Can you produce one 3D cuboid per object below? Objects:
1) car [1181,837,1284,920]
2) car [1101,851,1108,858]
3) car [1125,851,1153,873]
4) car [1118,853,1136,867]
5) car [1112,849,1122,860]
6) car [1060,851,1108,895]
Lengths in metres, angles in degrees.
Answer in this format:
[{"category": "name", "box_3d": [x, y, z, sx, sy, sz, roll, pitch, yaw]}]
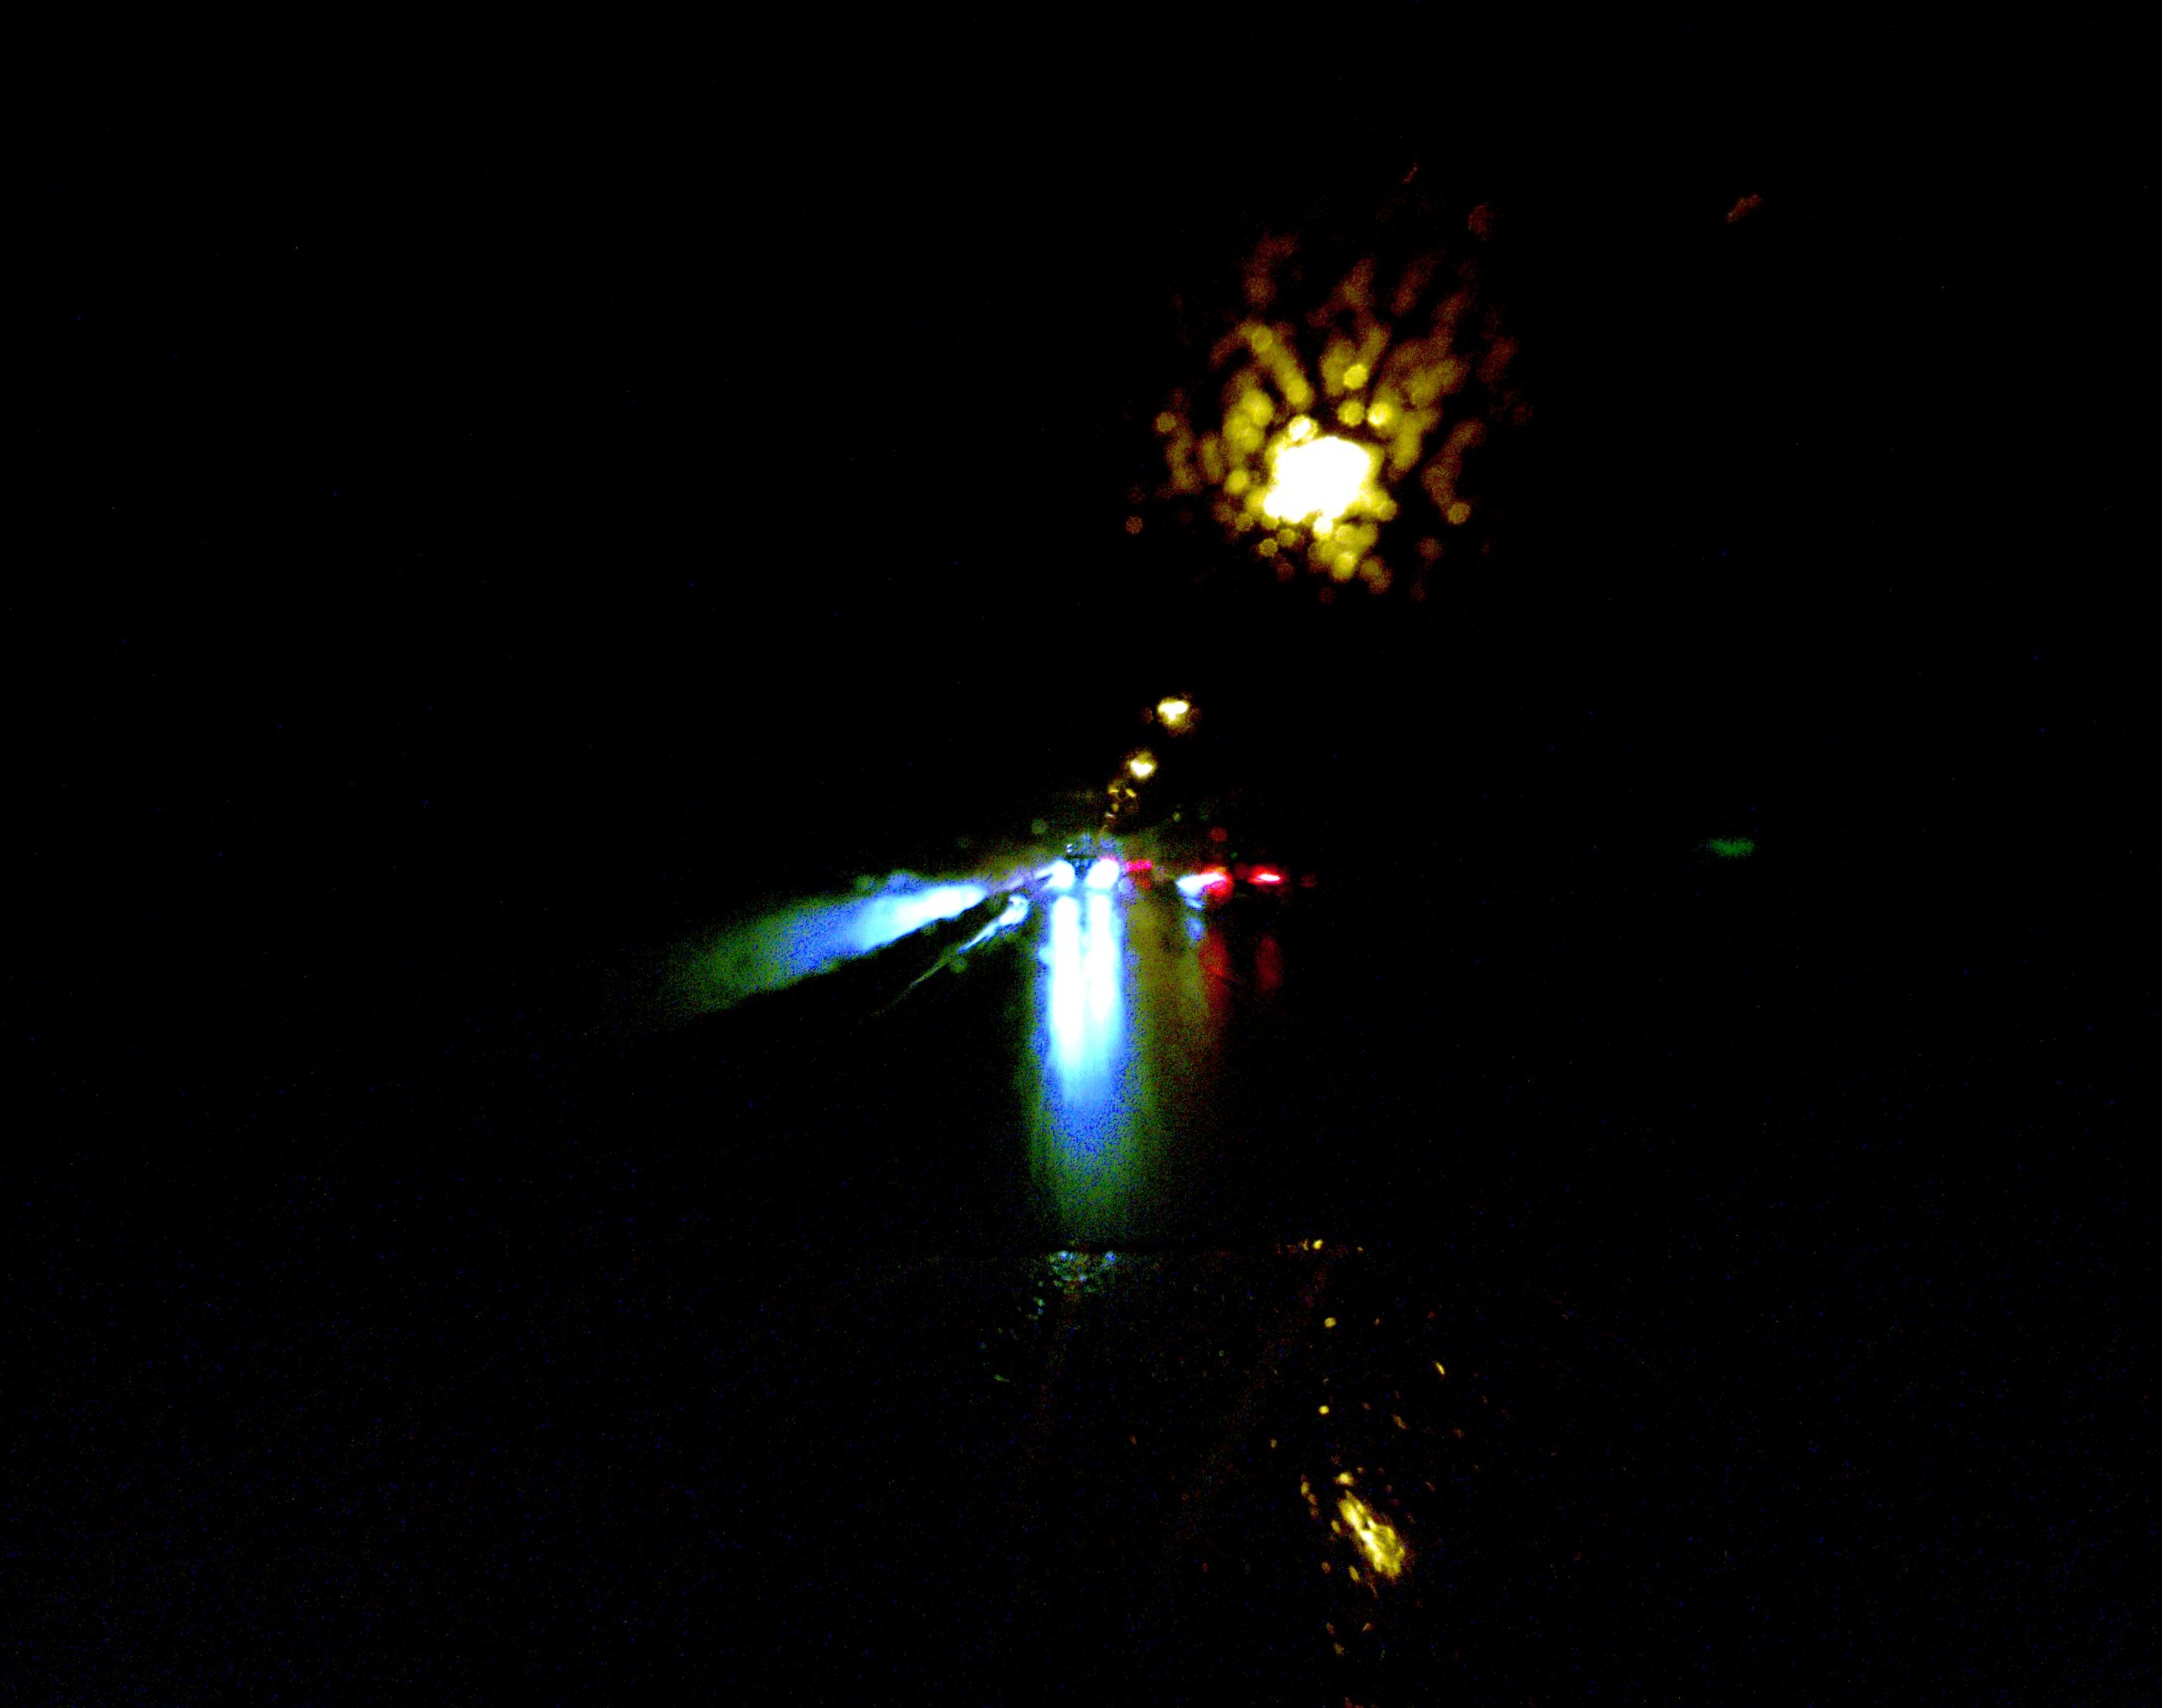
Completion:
[{"category": "car", "box_3d": [3.586, 0.527, 18.632, 1.733, 1.781, 3.932, -2, 0, 0]}, {"category": "car", "box_3d": [6.075, 0.175, 194.660, 1.602, 1.604, 3.995, -2, 0, 1]}, {"category": "car", "box_3d": [4.205, 0.570, 55.234, 1.764, 1.472, 3.887, -3, 0, 1]}, {"category": "car", "box_3d": [5.136, 0.671, 85.098, 1.739, 1.433, 3.836, -2, 0, 1]}, {"category": "car", "box_3d": [5.769, 0.061, 122.414, 1.573, 1.622, 3.729, -1, 0, 1]}, {"category": "car", "box_3d": [0.131, 0.729, 31.198, 1.829, 1.650, 3.929, -1, 0, 1]}]
